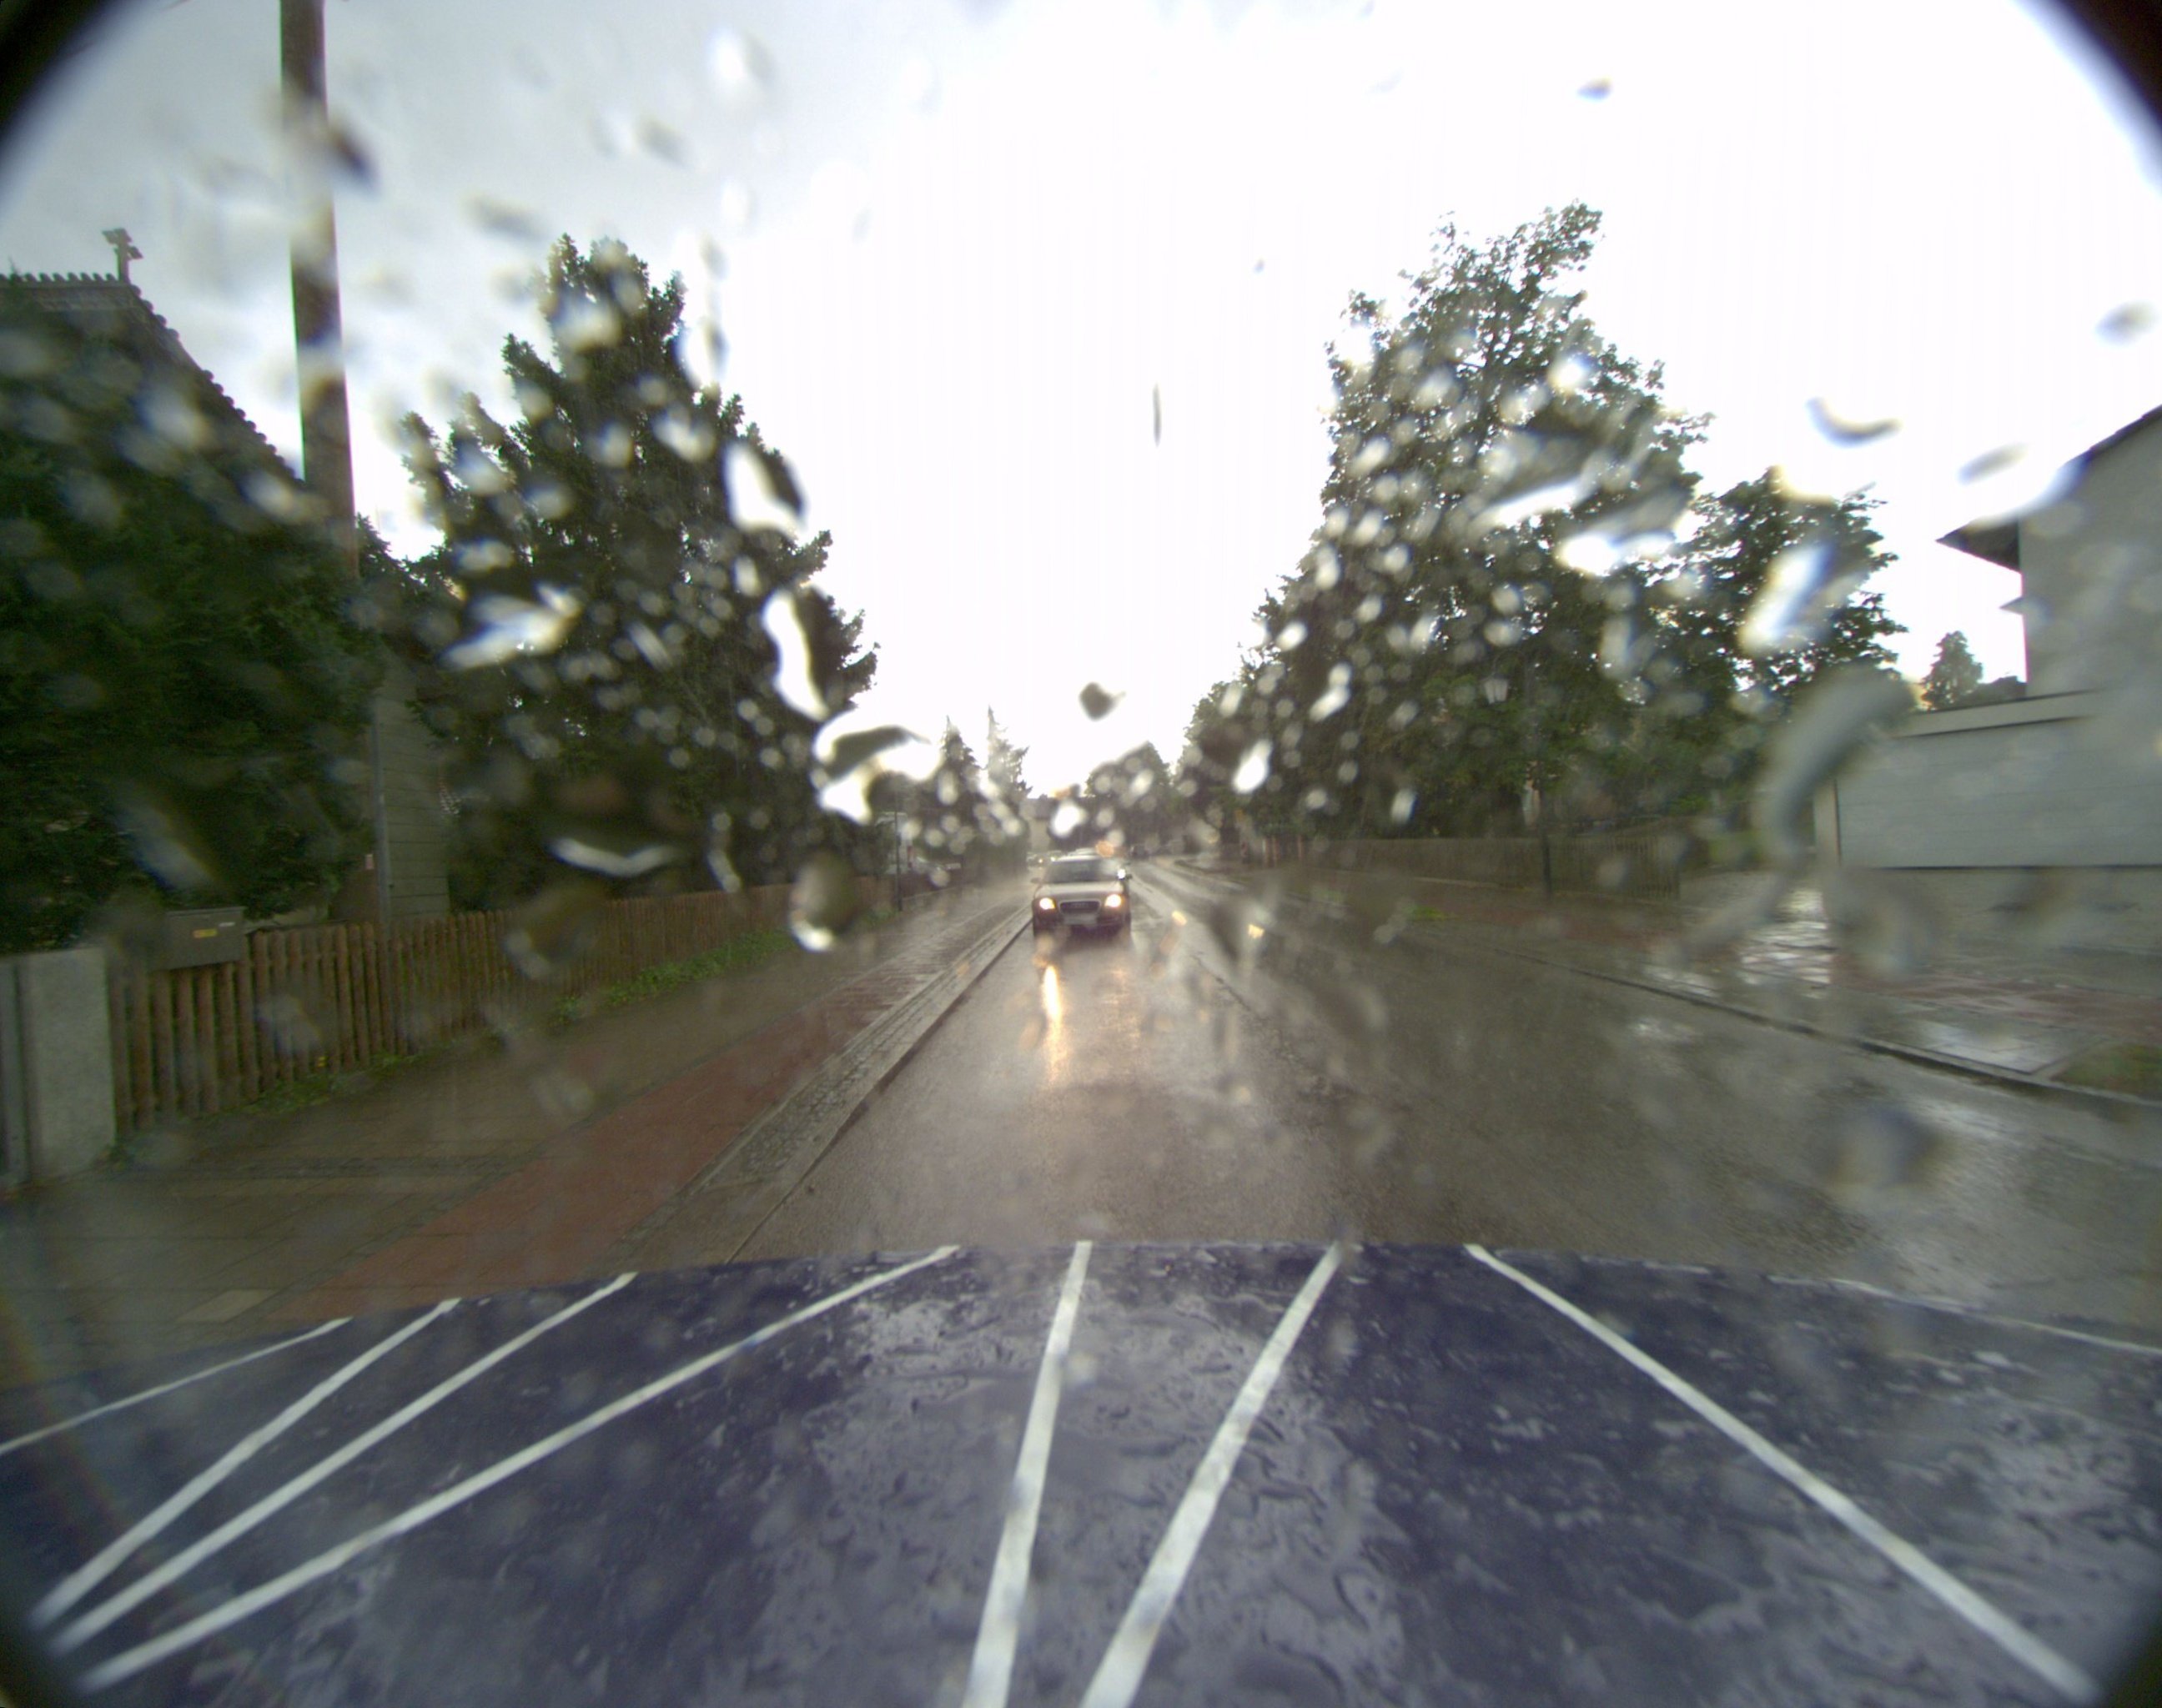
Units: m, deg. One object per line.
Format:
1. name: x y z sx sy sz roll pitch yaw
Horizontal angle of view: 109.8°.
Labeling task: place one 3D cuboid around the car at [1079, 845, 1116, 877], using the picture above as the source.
1. car: 0.910 0.321 42.495 1.872 1.512 4.960 -5 1 1

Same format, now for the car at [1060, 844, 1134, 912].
1. car: 0.467 0.607 22.870 1.872 1.603 4.960 -5 2 1

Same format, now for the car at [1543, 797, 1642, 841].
1. car: 26.116 -1.769 38.882 1.845 1.792 3.649 -6 0 -33

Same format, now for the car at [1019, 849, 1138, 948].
1. car: 0.000 0.720 14.590 1.872 1.512 4.188 -3 1 1

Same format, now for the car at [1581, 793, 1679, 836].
1. car: 28.922 -2.049 40.113 1.845 1.792 3.649 -6 0 -33

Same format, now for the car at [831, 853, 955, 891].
1. car: -7.151 0.676 29.366 4.443 1.413 1.829 0 1 -7

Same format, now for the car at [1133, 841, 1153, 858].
1. car: 5.941 -0.402 73.384 1.642 1.512 4.188 -4 0 1

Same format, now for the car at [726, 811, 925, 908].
1. car: -7.443 0.133 22.673 5.320 2.712 1.998 0 1 -8
